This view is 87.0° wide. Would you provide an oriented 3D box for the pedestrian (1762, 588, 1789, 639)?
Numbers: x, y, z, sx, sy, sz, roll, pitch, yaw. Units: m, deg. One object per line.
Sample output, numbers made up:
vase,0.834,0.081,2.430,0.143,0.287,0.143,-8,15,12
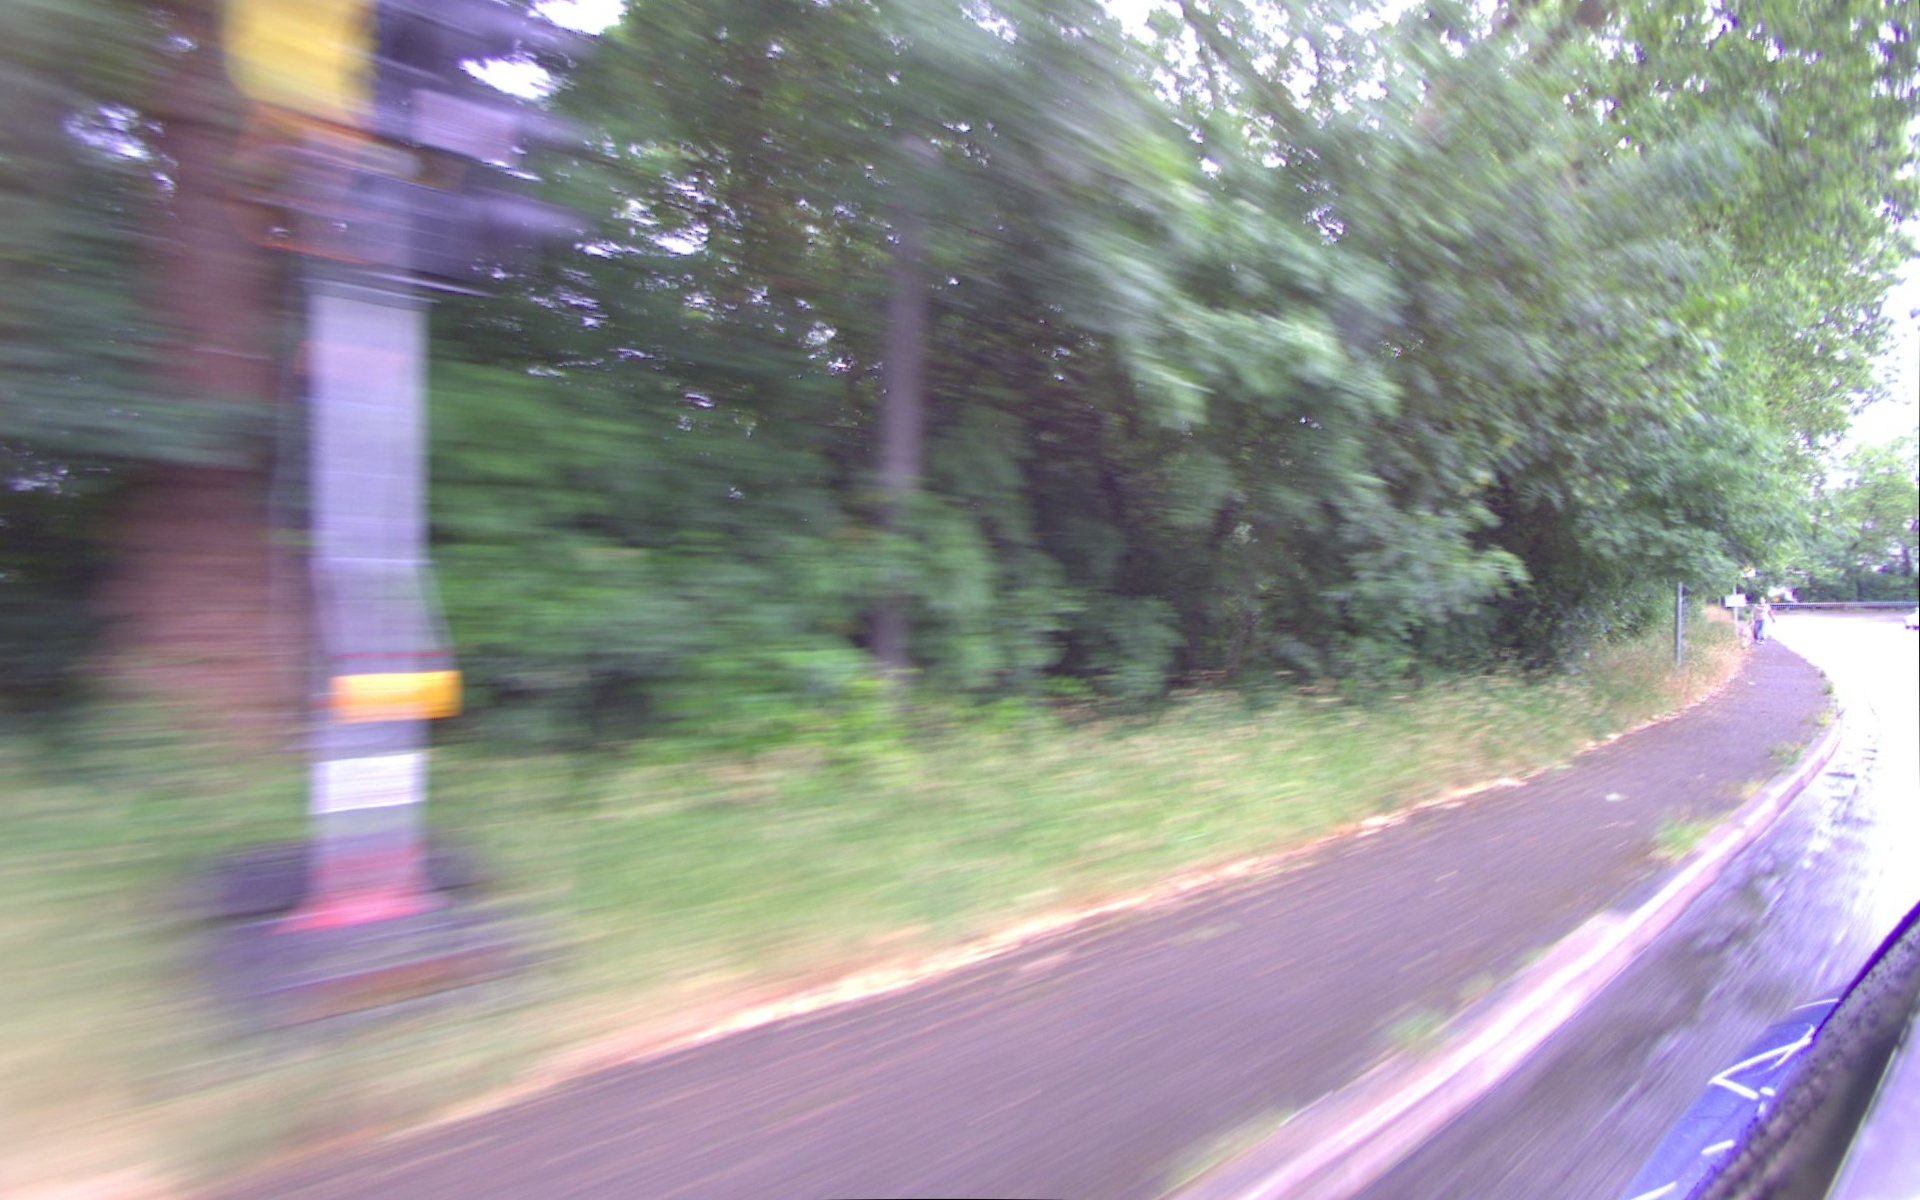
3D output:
pedestrian,26.940,0.440,33.434,0.640,1.631,0.661,1,2,37
